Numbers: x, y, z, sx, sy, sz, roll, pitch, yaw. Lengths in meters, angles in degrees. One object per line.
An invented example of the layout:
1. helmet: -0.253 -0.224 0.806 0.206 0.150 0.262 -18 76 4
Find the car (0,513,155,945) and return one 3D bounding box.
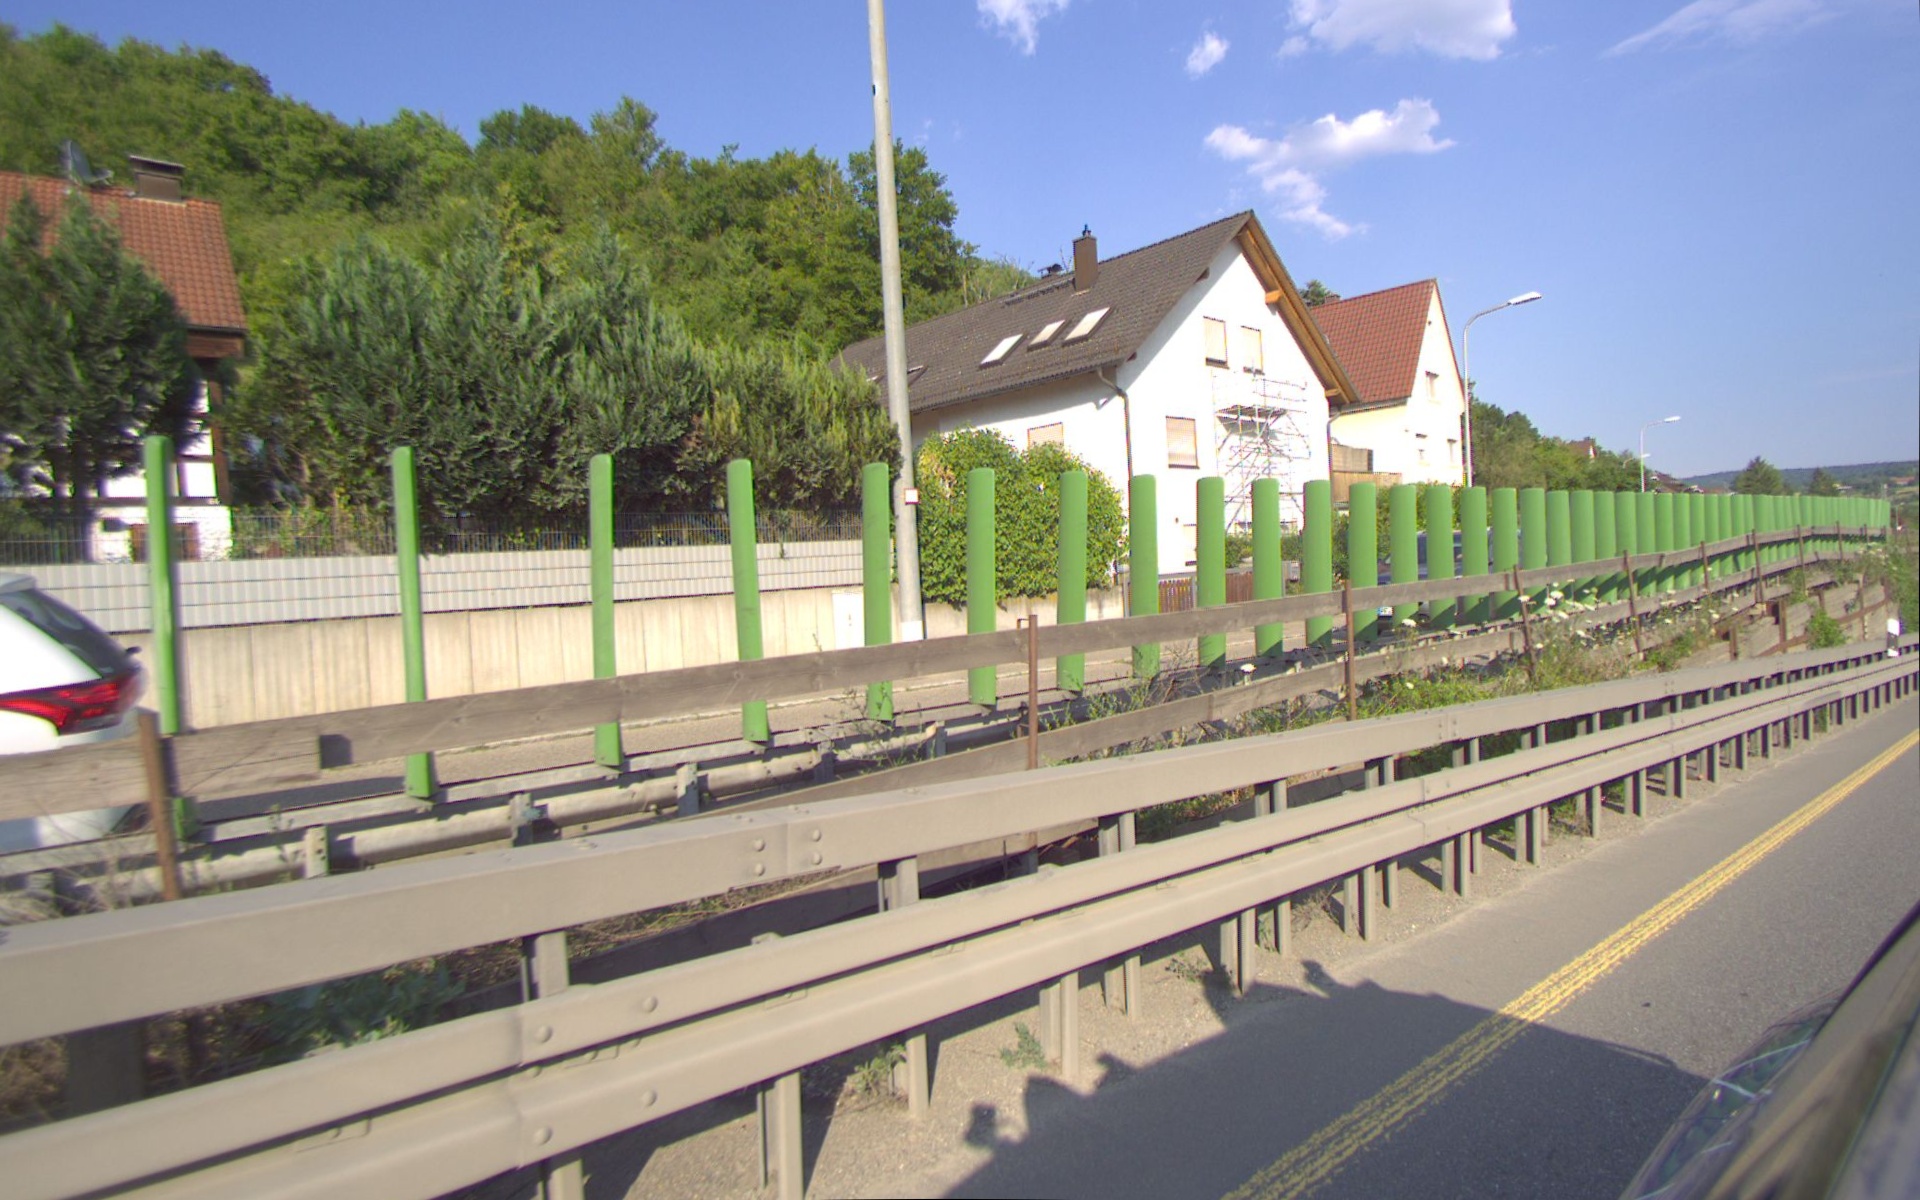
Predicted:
1. car: -5.700 0.605 3.449 4.567 1.679 1.701 -4 1 -39

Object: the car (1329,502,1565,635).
1. car: 7.929 -0.450 16.312 4.173 1.835 1.885 -1 -2 -41
